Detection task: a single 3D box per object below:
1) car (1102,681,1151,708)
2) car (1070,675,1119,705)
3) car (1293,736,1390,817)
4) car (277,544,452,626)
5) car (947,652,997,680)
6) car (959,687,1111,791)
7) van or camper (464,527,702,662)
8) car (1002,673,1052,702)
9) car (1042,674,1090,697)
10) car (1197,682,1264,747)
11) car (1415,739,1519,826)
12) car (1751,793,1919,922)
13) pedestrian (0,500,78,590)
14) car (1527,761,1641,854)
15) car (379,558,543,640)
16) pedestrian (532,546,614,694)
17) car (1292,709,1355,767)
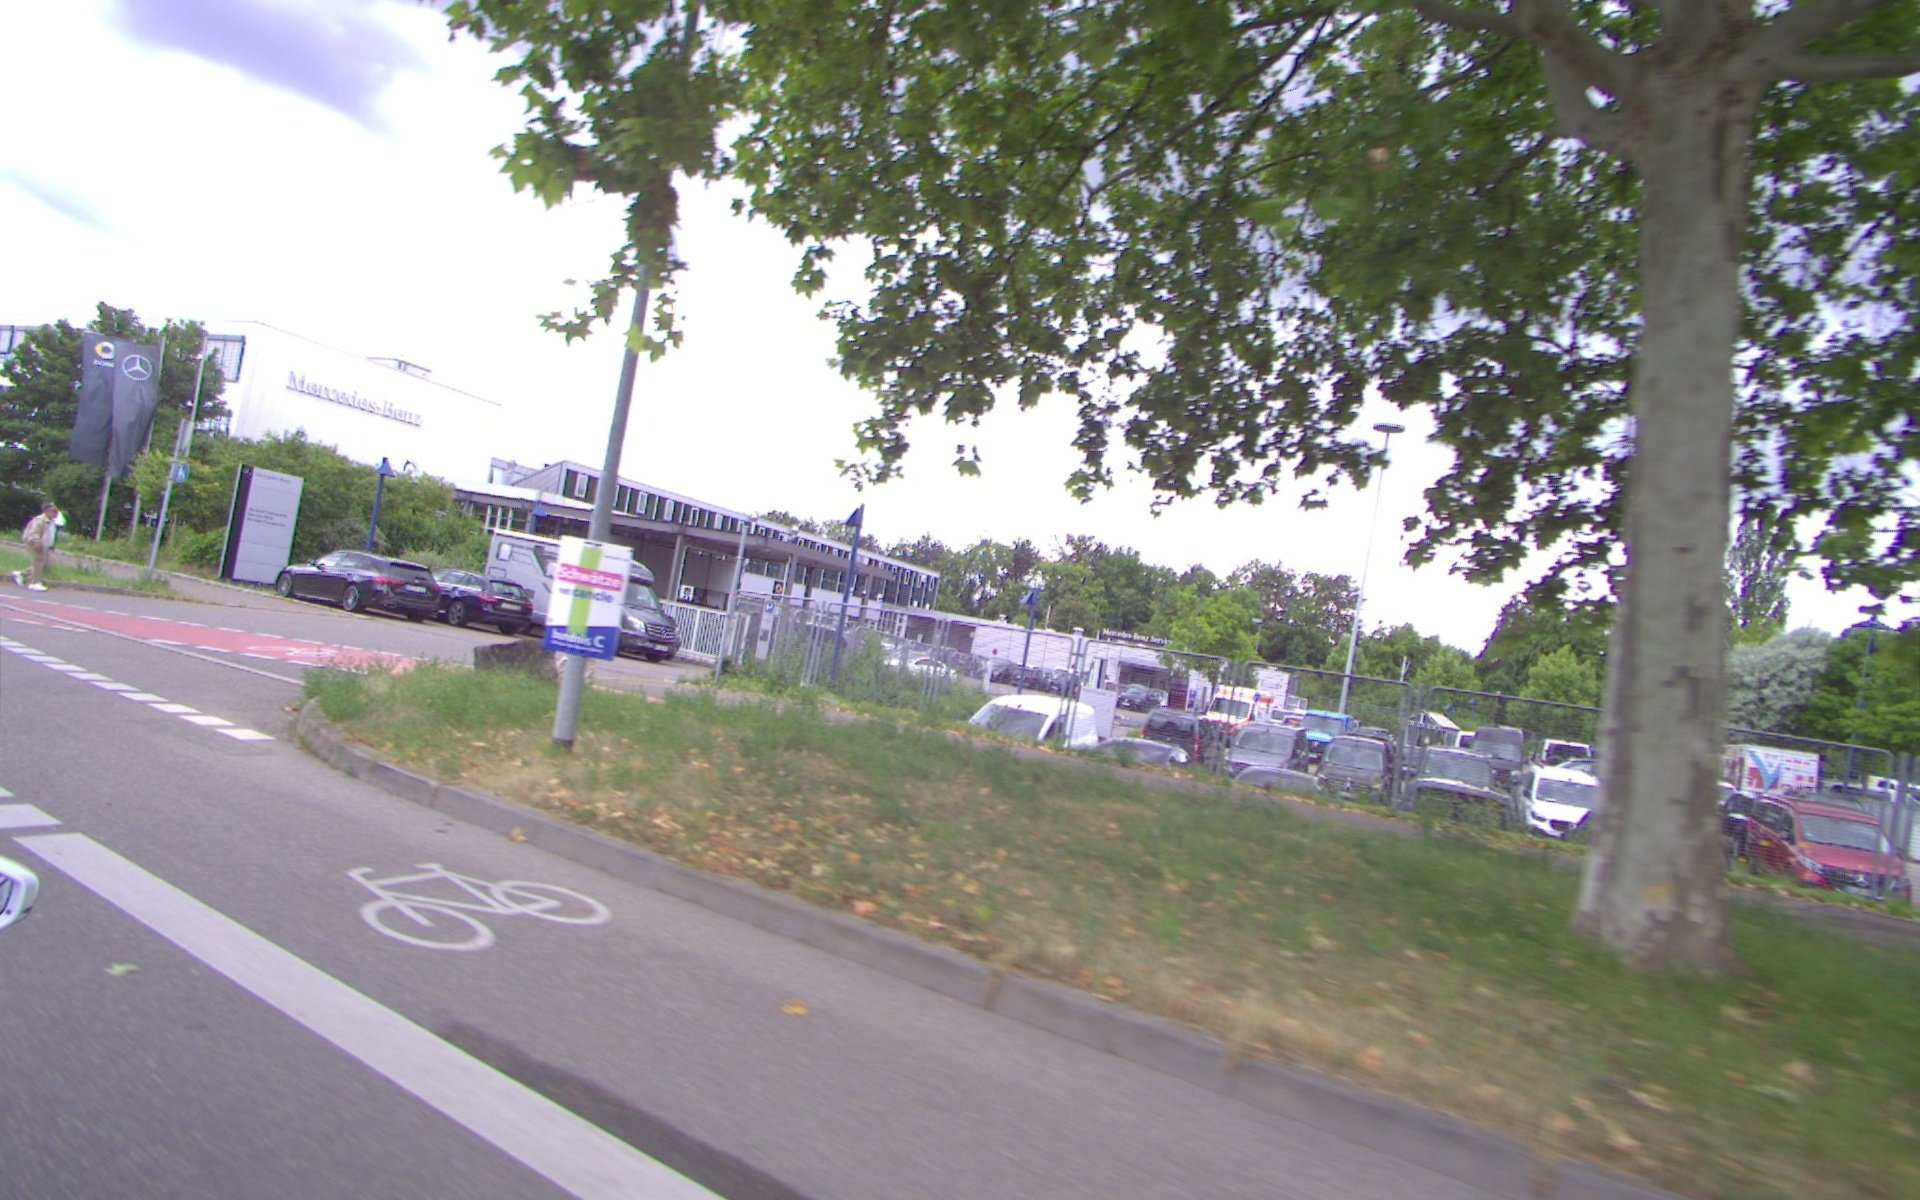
[{"bbox_3d":[10.697,6.092,64.646,1.597,1.349,3.646,7,-3,35],"label":"car"},{"bbox_3d":[8.889,5.951,66.356,1.597,1.559,3.646,7,-3,35],"label":"car"},{"bbox_3d":[10.138,4.578,26.577,1.964,1.569,4.003,7,-3,25],"label":"car"},{"bbox_3d":[-14.515,-0.381,24.485,4.271,1.369,1.715,7,-2,31],"label":"car"},{"bbox_3d":[0.881,4.725,71.796,1.597,1.544,3.646,7,-3,35],"label":"car"},{"bbox_3d":[1.614,2.756,20.235,1.661,1.635,3.748,7,-3,25],"label":"car"},{"bbox_3d":[-10.901,-0.197,28.900,6.796,2.901,1.972,7,-1,26],"label":"van or camper"},{"bbox_3d":[4.550,5.964,68.359,1.597,1.544,3.646,7,-3,35],"label":"car"},{"bbox_3d":[7.210,5.808,68.161,1.597,1.169,3.646,7,-3,35],"label":"car"},{"bbox_3d":[12.335,5.219,45.711,1.705,2.596,4.113,7,-3,30],"label":"car"},{"bbox_3d":[12.376,4.398,24.784,1.964,1.569,4.003,7,-3,25],"label":"car"},{"bbox_3d":[18.709,5.379,21.585,1.966,1.902,3.999,7,-3,30],"label":"car"},{"bbox_3d":[-17.080,-0.996,18.537,0.735,1.480,0.792,8,-1,11],"label":"pedestrian"},{"bbox_3d":[14.762,4.851,24.001,1.966,1.569,3.999,7,-3,30],"label":"car"},{"bbox_3d":[-13.443,-0.052,27.047,4.271,1.523,1.717,7,-4,31],"label":"car"},{"bbox_3d":[-5.175,0.258,13.434,0.740,1.822,0.857,9,-1,-25],"label":"pedestrian"},{"bbox_3d":[15.766,5.948,43.564,1.705,2.136,3.999,7,-3,30],"label":"car"}]
